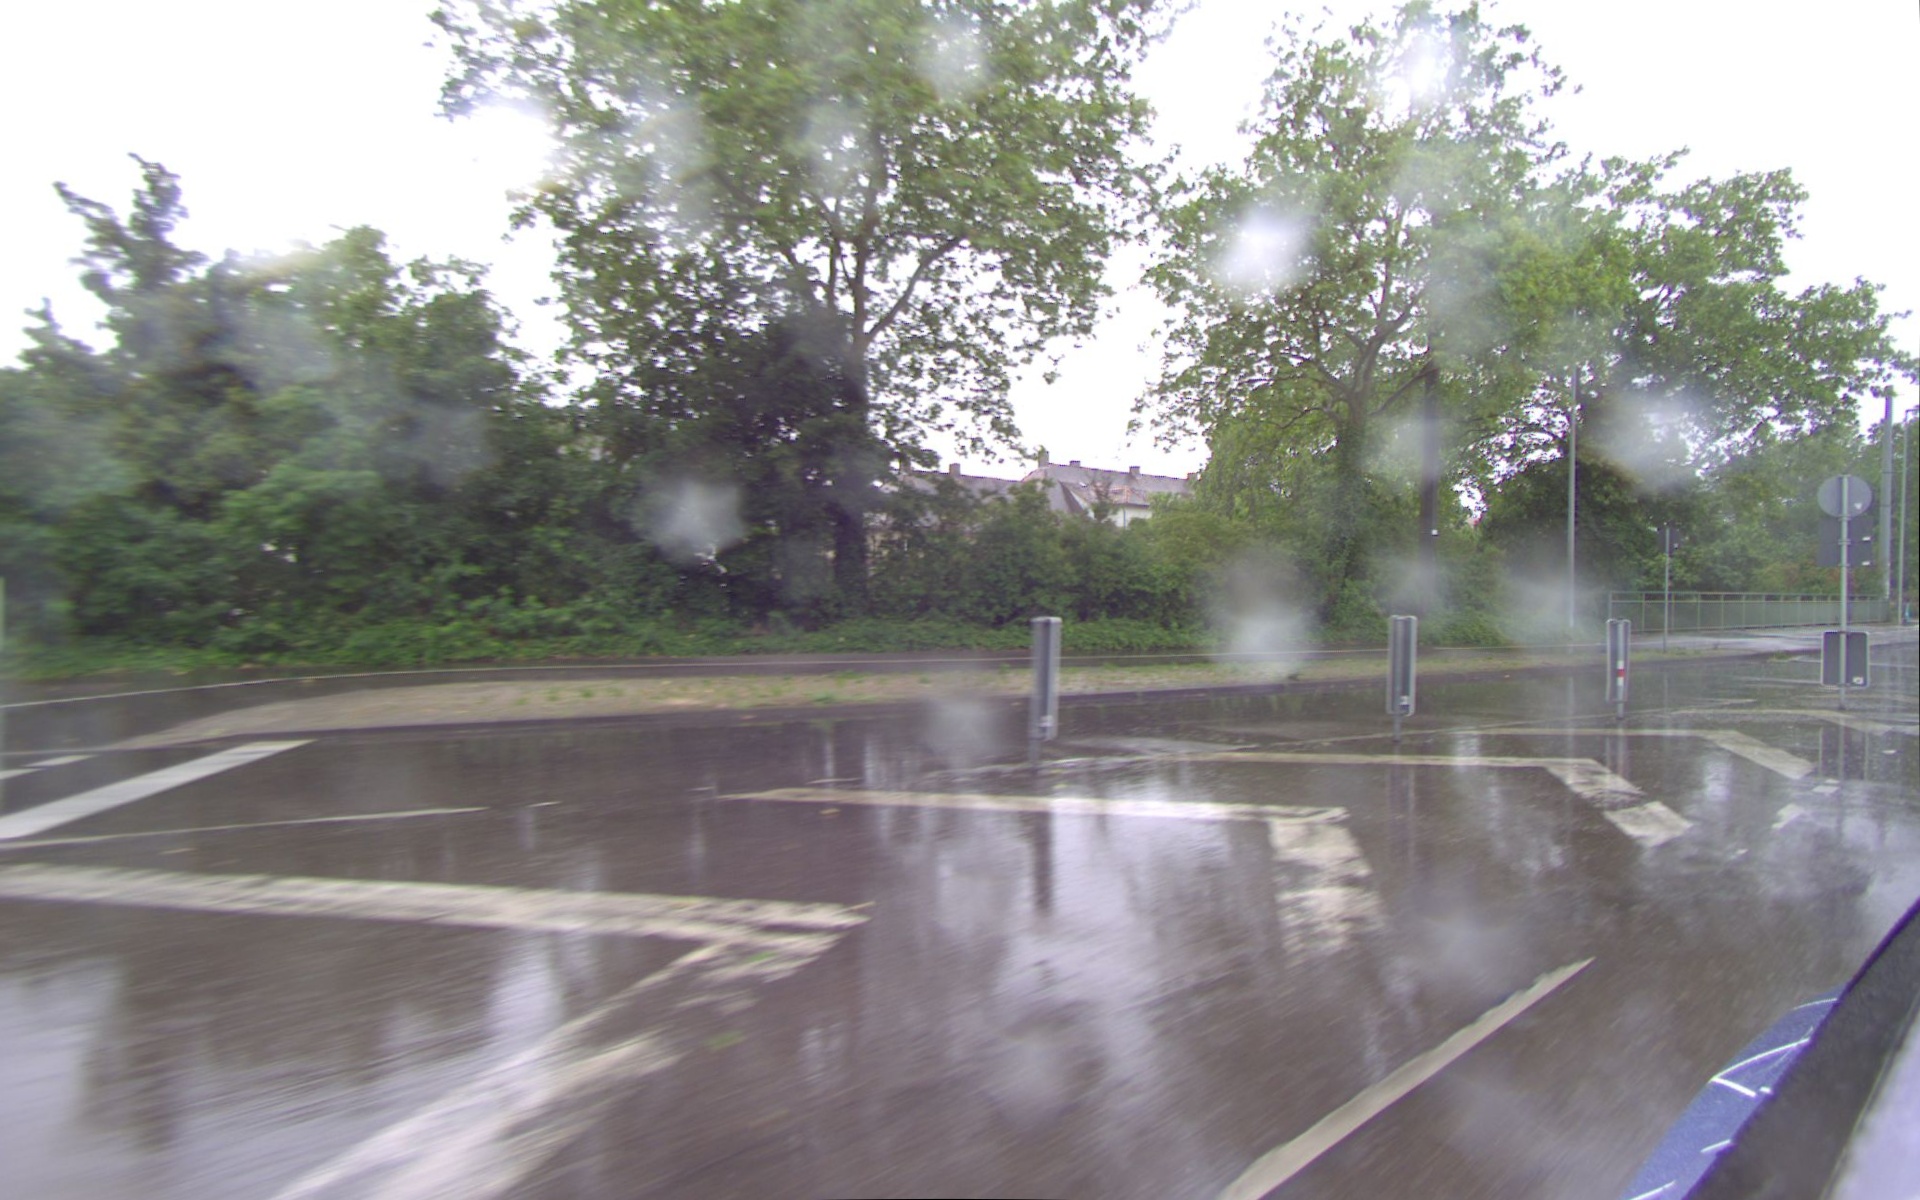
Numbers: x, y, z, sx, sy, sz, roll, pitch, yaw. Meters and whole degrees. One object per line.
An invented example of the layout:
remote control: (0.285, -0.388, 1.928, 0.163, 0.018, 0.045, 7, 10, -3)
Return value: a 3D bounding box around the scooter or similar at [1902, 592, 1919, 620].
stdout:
scooter or similar: (46.141, 0.292, 48.798, 1.616, 1.309, 0.761, -1, 1, -36)
